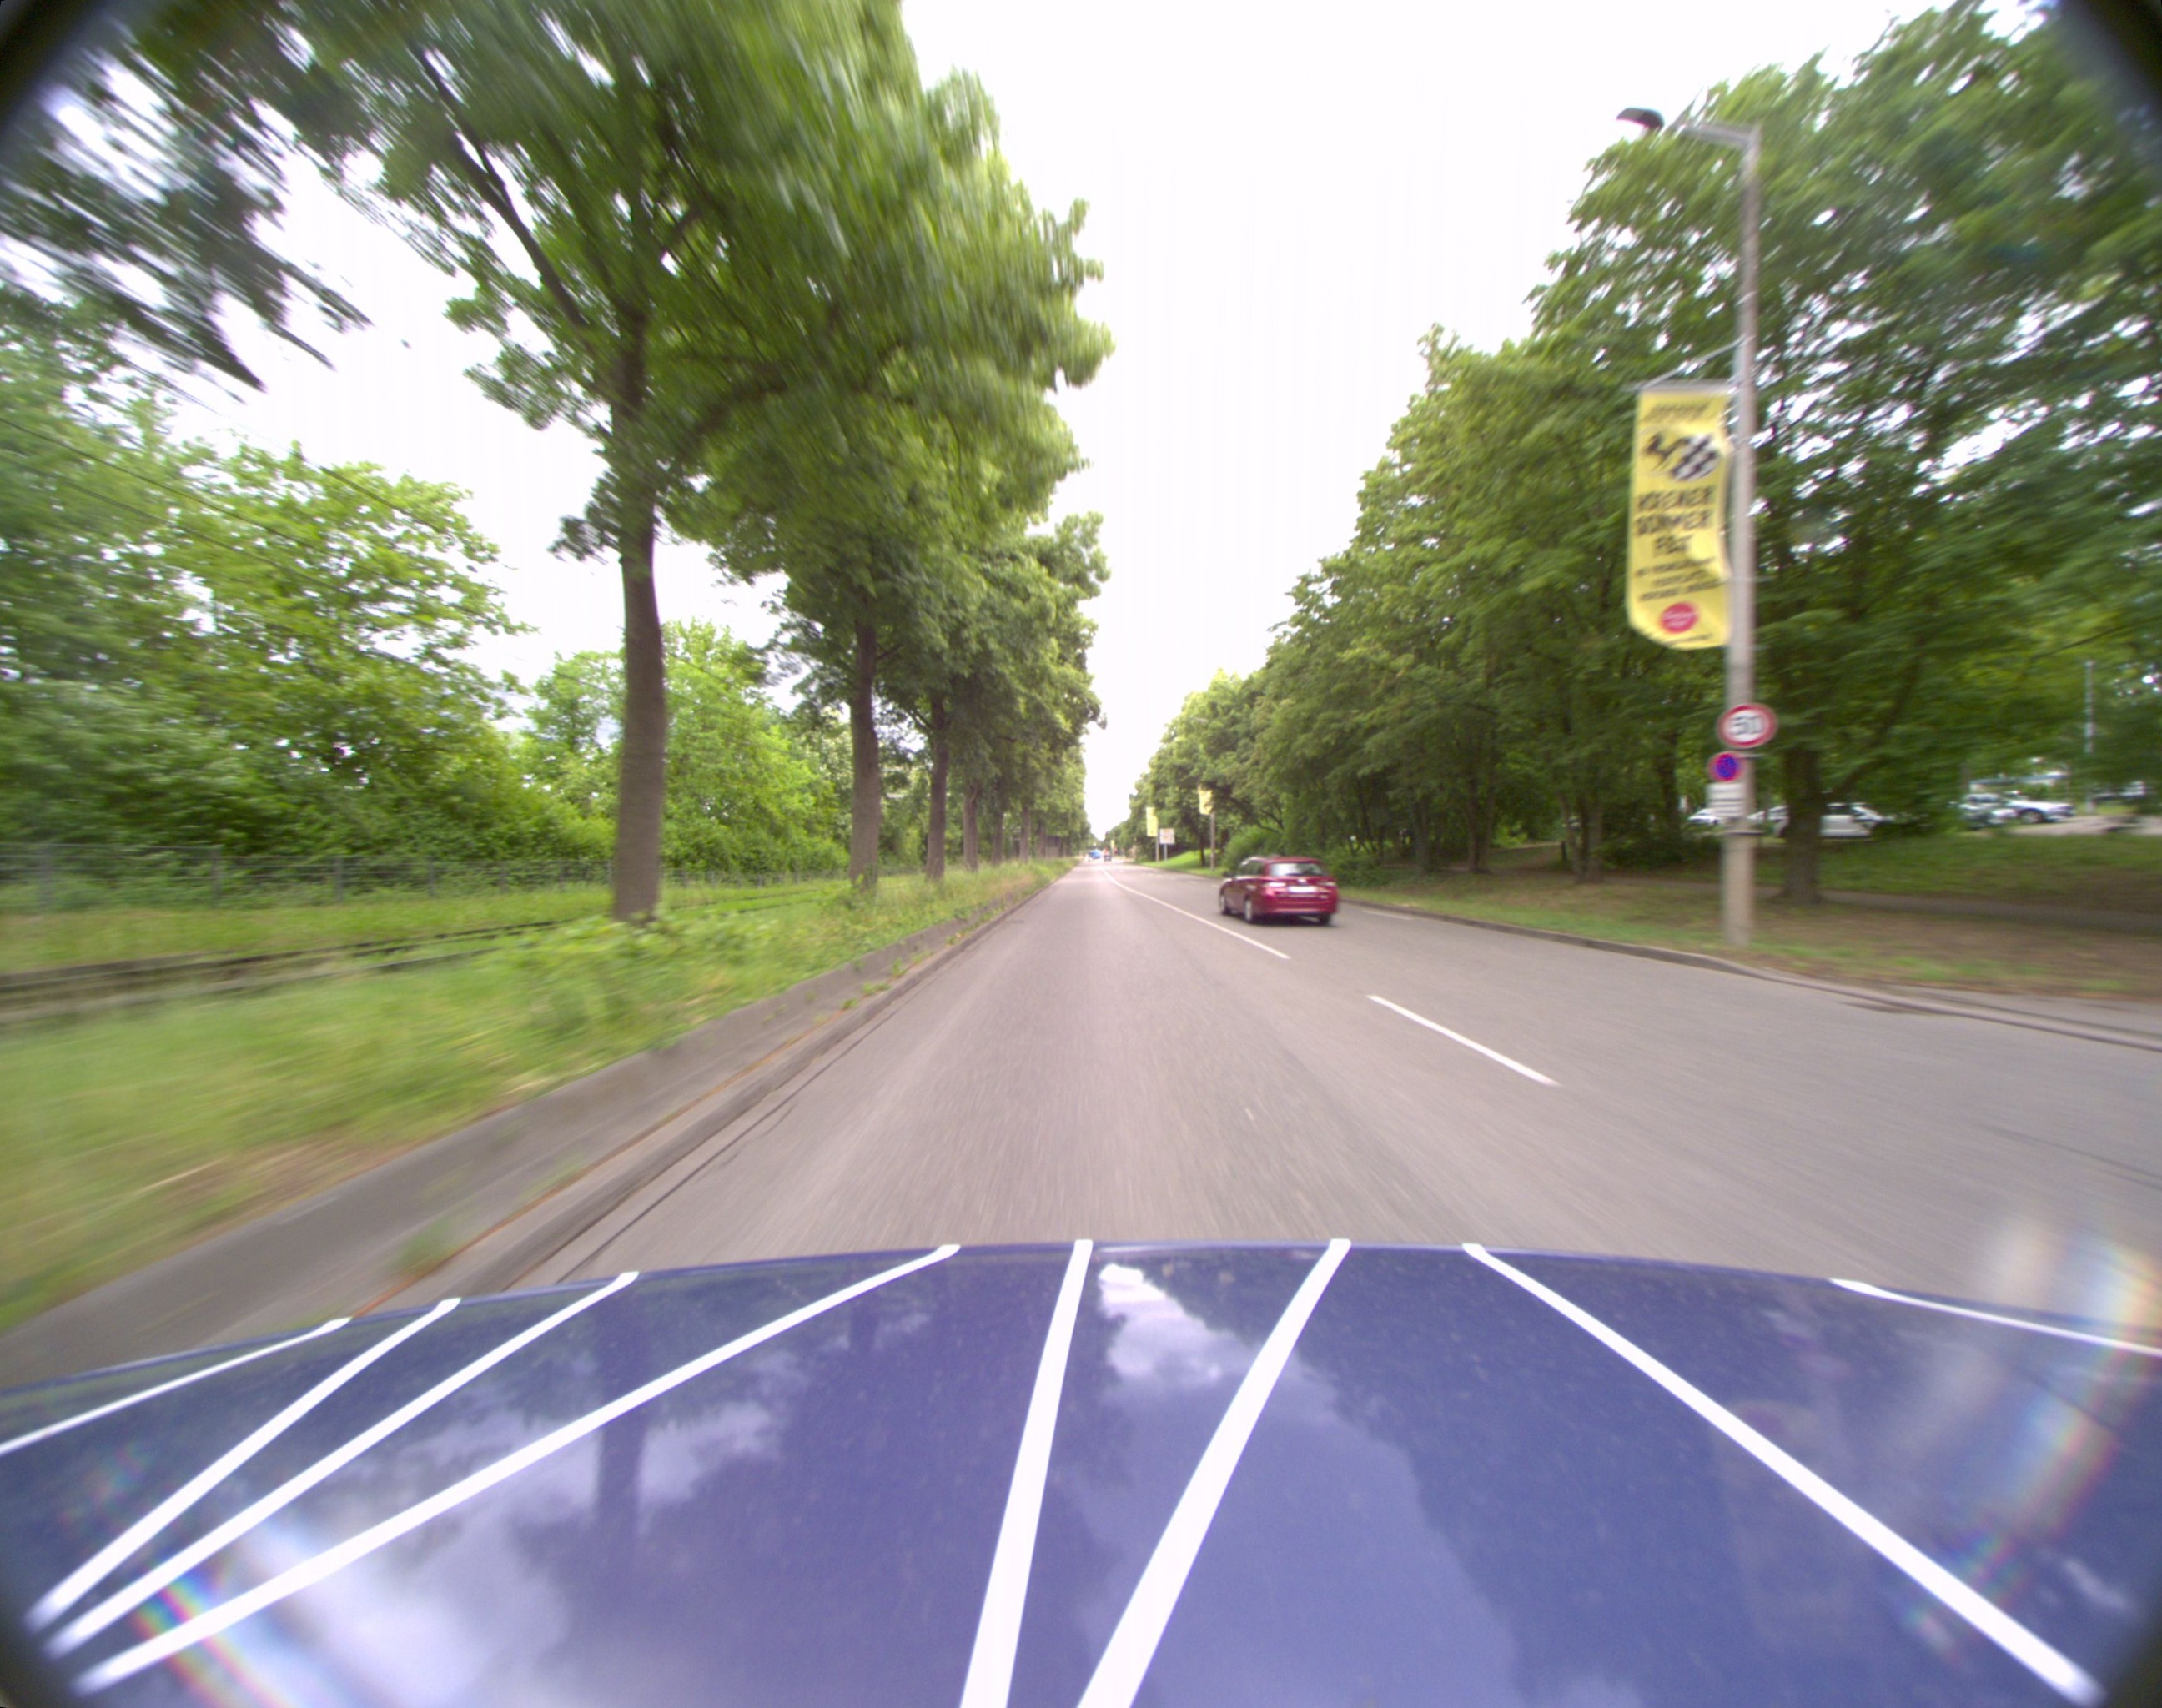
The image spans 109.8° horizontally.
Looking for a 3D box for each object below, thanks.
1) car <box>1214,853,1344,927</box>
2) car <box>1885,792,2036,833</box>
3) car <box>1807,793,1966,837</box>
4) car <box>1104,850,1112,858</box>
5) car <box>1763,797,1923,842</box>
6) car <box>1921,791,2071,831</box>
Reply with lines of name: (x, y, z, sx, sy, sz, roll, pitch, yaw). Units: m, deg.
car: (4.252, 0.707, 16.977, 1.721, 1.420, 4.196, 0, 0, -1)
car: (38.182, -1.772, 33.120, 1.653, 1.477, 3.992, -3, 0, -23)
car: (31.744, -1.496, 30.102, 1.653, 1.477, 3.992, -3, 0, -23)
car: (6.902, 0.072, 197.254, 1.998, 1.944, 5.183, -1, 1, 1)
car: (28.971, -1.288, 29.044, 1.653, 1.477, 3.992, -3, 0, -23)
car: (40.835, -1.885, 34.038, 1.653, 1.477, 3.992, -3, 0, -23)
